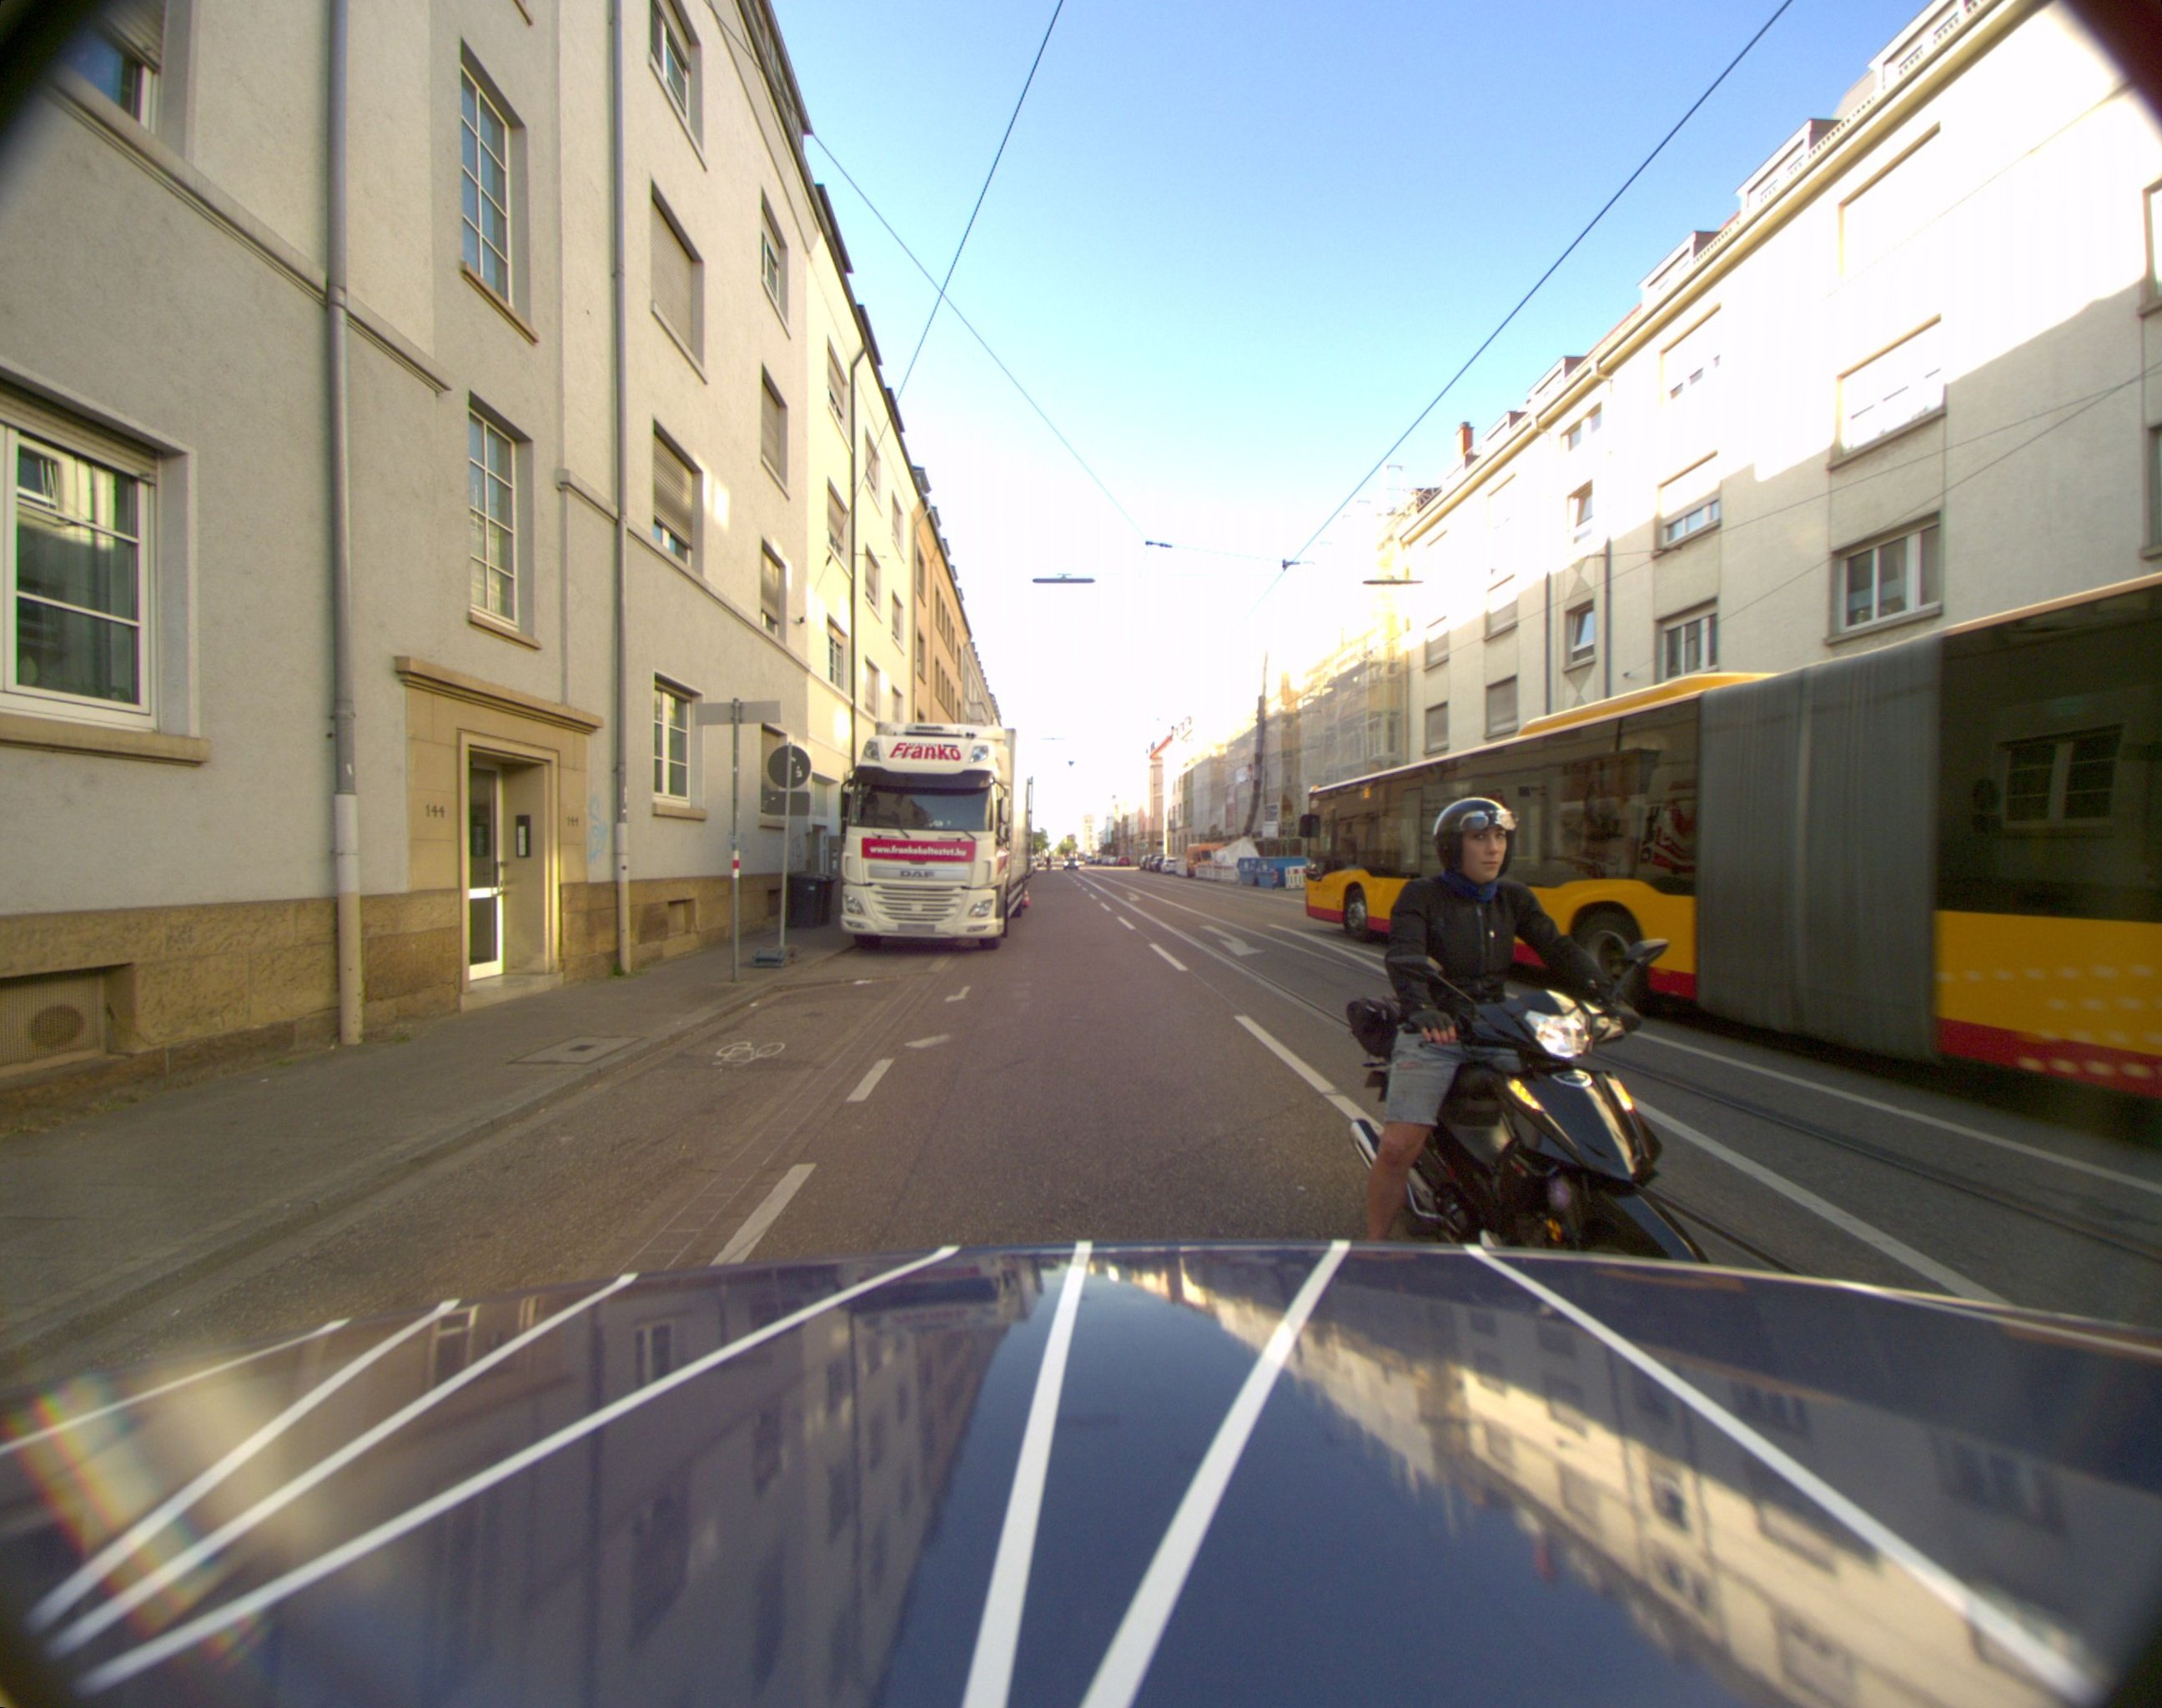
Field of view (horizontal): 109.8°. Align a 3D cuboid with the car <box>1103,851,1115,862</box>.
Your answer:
[{"bbox_3d":[5.562,0.493,149.163,1.999,2.002,3.999,1,0,-3],"label":"car"}]

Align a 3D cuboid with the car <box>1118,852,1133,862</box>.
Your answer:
[{"bbox_3d":[6.974,0.393,118.749,1.799,1.494,3.768,-2,0,-3],"label":"car"}]

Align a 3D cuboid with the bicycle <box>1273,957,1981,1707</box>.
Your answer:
[{"bbox_3d":[1.271,1.047,2.400,0.740,1.170,1.973,0,0,-3],"label":"bicycle"}]

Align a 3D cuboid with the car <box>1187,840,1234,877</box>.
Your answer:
[{"bbox_3d":[9.000,0.312,53.329,2.125,2.454,5.999,1,0,-2],"label":"car"}]

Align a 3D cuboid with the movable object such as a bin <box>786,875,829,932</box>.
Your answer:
[{"bbox_3d":[-5.398,0.970,15.021,0.660,1.098,0.541,0,1,-5],"label":"movable object such as a bin"}]

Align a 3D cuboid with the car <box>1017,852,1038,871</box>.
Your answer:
[{"bbox_3d":[-5.020,0.677,71.608,1.703,1.688,4.187,1,0,0],"label":"car"}]

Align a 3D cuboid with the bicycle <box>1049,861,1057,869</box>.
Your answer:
[{"bbox_3d":[-2.841,1.109,77.485,0.744,0.850,1.886,0,0,2],"label":"bicycle"}]

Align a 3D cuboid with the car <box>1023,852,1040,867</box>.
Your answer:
[{"bbox_3d":[-5.318,0.615,82.389,1.703,1.581,3.960,0,0,-2],"label":"car"}]

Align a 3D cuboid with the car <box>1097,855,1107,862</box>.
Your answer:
[{"bbox_3d":[4.552,0.939,167.652,1.799,1.494,3.768,-2,0,-3],"label":"car"}]

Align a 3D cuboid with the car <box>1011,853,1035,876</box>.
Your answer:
[{"bbox_3d":[-4.517,0.792,59.428,1.713,1.683,4.588,1,0,-3],"label":"car"}]

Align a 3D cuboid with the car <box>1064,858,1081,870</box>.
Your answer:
[{"bbox_3d":[-0.938,1.106,88.831,1.859,1.369,4.000,0,0,1],"label":"car"}]

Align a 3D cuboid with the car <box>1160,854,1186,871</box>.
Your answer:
[{"bbox_3d":[8.573,0.777,71.121,1.751,1.502,3.999,1,0,-2],"label":"car"}]

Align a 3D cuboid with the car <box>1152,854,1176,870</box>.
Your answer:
[{"bbox_3d":[8.354,0.774,77.180,1.702,1.569,4.221,-2,0,-3],"label":"car"}]

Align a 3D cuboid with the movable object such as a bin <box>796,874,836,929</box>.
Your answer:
[{"bbox_3d":[-5.433,0.965,15.612,0.660,1.098,0.541,0,1,-5],"label":"movable object such as a bin"}]

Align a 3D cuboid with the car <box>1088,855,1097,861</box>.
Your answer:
[{"bbox_3d":[2.844,1.072,191.720,1.799,1.494,3.768,-2,0,-3],"label":"car"}]

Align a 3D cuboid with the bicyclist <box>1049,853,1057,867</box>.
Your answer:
[{"bbox_3d":[-2.828,0.602,77.596,0.744,1.481,0.816,0,1,2],"label":"bicyclist"}]

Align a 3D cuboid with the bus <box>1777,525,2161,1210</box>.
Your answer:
[{"bbox_3d":[6.439,0.064,1.592,2.745,3.143,7.575,0,0,-3],"label":"bus"}]

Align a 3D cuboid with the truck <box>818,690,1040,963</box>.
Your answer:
[{"bbox_3d":[-2.578,-0.404,17.225,2.867,4.049,11.776,0,0,-1],"label":"truck"}]

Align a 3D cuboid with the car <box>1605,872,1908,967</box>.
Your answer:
[{"bbox_3d":[11.217,1.000,13.020,1.704,1.209,3.784,-2,1,-3],"label":"car"}]

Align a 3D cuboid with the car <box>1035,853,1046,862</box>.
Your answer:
[{"bbox_3d":[-7.617,0.629,142.949,1.999,1.630,3.999,1,0,-2],"label":"car"}]

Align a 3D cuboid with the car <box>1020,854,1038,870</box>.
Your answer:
[{"bbox_3d":[-5.254,0.801,77.271,1.703,1.496,3.862,0,0,-1],"label":"car"}]

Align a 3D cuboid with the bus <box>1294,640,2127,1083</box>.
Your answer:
[{"bbox_3d":[5.984,0.048,10.552,2.730,3.140,10.192,0,0,-3],"label":"bus"}]

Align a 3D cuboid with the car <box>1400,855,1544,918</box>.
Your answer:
[{"bbox_3d":[10.829,0.828,21.446,1.704,1.558,4.405,0,0,-2],"label":"car"}]

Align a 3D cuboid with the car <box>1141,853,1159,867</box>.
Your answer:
[{"bbox_3d":[7.954,0.726,88.134,1.798,1.601,3.769,0,0,1],"label":"car"}]

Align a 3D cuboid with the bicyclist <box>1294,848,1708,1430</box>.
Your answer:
[{"bbox_3d":[1.243,0.757,2.454,0.844,1.545,0.849,0,1,-3],"label":"bicyclist"}]

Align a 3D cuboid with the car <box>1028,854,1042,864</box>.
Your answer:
[{"bbox_3d":[-6.806,0.695,112.973,1.999,1.412,3.726,1,0,-2],"label":"car"}]

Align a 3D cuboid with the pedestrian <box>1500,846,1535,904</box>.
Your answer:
[{"bbox_3d":[12.817,0.606,22.327,0.582,1.684,0.716,-2,1,-3],"label":"pedestrian"}]

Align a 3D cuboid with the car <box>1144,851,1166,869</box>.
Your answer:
[{"bbox_3d":[8.125,0.610,83.264,1.799,1.836,3.768,-2,0,-3],"label":"car"}]
